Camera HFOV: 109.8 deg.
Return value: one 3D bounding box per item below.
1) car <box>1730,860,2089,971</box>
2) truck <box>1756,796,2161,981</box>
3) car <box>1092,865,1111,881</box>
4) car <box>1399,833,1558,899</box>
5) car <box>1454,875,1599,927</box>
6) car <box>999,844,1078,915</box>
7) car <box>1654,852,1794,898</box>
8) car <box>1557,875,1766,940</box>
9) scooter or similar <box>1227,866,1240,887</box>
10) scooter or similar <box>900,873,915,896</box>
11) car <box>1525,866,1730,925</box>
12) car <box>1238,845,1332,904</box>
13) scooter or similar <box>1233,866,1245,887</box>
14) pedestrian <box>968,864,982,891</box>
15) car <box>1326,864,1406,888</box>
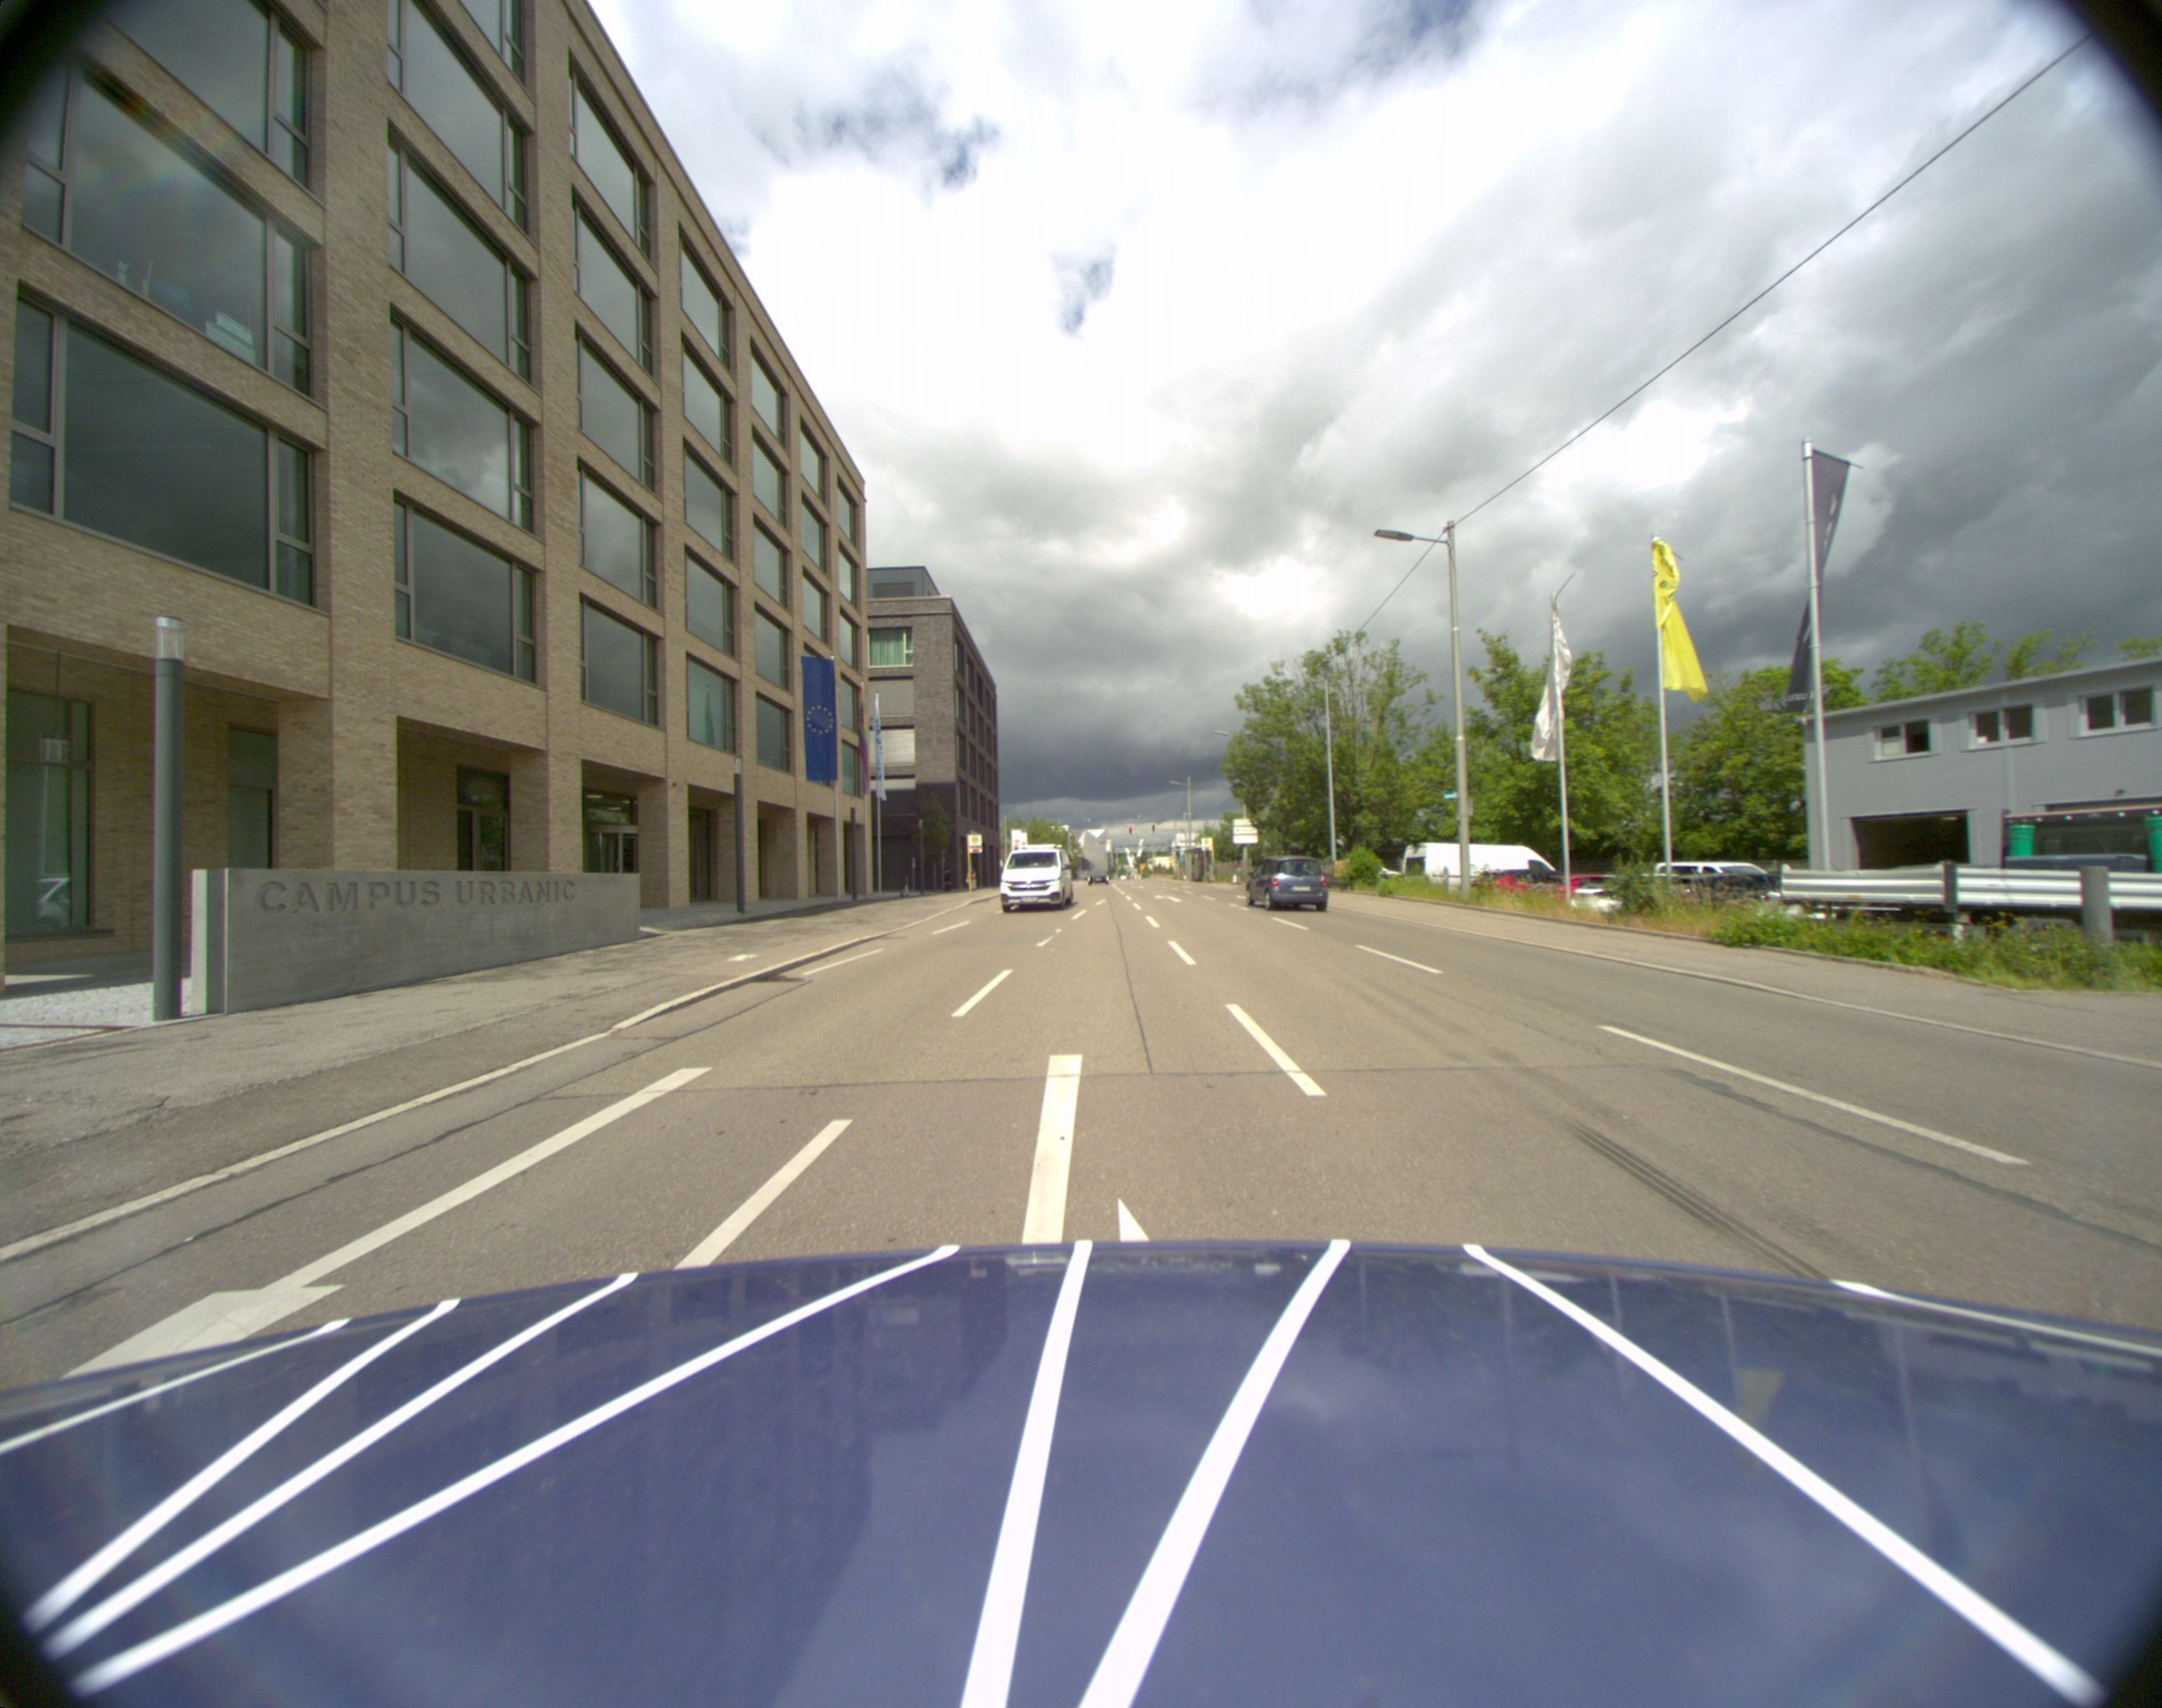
[{"bbox_3d":[13.707,0.966,12.785,3.894,1.600,1.928,-2,1,1],"label":"car"},{"bbox_3d":[13.058,0.375,10.185,5.877,2.135,2.476,-1,1,-1],"label":"truck"},{"bbox_3d":[1.848,1.716,69.488,1.726,1.394,4.207,0,1,1],"label":"car"},{"bbox_3d":[13.379,0.421,25.793,4.171,2.001,2.199,-2,-2,-1],"label":"car"},{"bbox_3d":[13.419,1.395,23.048,3.344,1.401,1.728,-2,1,5],"label":"car"},{"bbox_3d":[-1.261,0.722,24.472,1.935,2.078,4.209,-1,1,5],"label":"car"},{"bbox_3d":[26.431,0.836,31.522,1.841,1.718,4.918,-1,-1,4],"label":"car"},{"bbox_3d":[13.545,1.231,17.913,3.553,1.317,1.711,-2,1,5],"label":"car"},{"bbox_3d":[9.799,1.431,48.870,0.535,1.254,1.474,-3,-1,19],"label":"scooter or similar"},{"bbox_3d":[-8.962,1.548,39.284,0.428,1.146,1.404,-1,-1,1],"label":"scooter or similar"},{"bbox_3d":[14.494,1.083,20.360,4.041,1.378,1.929,-2,1,5],"label":"car"},{"bbox_3d":[6.006,0.575,22.857,1.748,1.586,4.042,1,0,0],"label":"car"},{"bbox_3d":[9.843,1.385,47.369,0.536,1.258,1.473,-3,-1,7],"label":"scooter or similar"},{"bbox_3d":[-6.938,1.508,49.603,0.685,1.717,0.962,-2,-1,1],"label":"pedestrian"},{"bbox_3d":[17.563,1.356,47.012,4.285,1.373,1.867,-1,-1,6],"label":"car"}]
